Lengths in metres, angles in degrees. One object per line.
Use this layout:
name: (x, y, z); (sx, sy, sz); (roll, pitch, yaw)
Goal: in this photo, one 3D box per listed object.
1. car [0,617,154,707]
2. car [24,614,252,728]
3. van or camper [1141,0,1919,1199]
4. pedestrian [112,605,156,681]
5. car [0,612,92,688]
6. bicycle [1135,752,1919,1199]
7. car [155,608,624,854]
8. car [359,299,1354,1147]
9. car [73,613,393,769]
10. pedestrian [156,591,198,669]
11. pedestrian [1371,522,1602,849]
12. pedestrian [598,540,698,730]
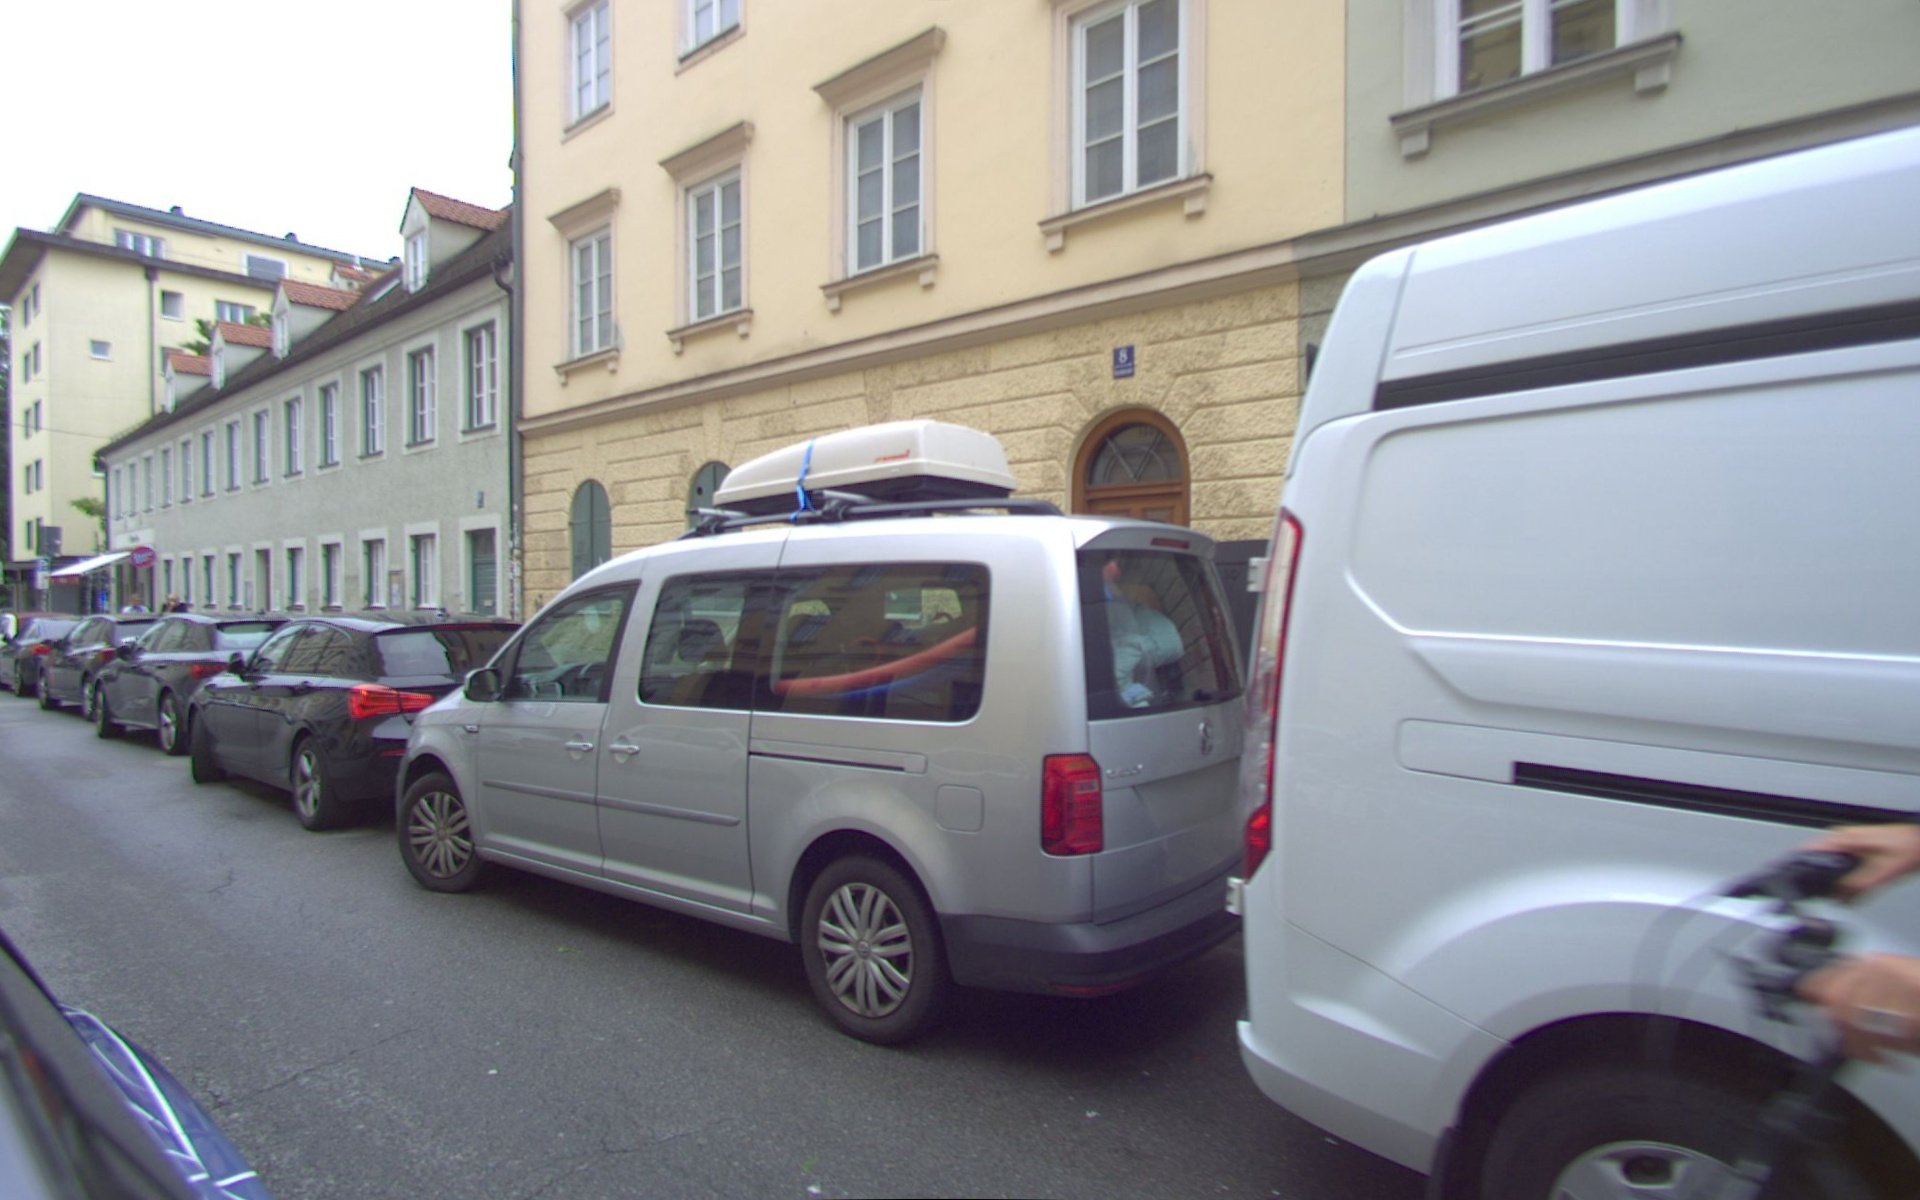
car: (-16.554, 1.052, 18.690); (4.267, 1.412, 1.838); (-1, 0, 41)
car: (-12.274, 0.942, 15.012); (4.265, 1.412, 1.839); (-1, 0, 40)
van or camper: (3.113, 0.243, 1.226); (5.475, 2.329, 1.973); (-1, -3, 41)
pedestrian: (-17.983, 0.919, 22.038); (0.662, 1.610, 0.607); (-1, -1, 38)
car: (-20.660, 1.057, 22.398); (3.419, 1.526, 1.554); (-1, 0, 38)
bicycle: (1.184, 0.815, 0.702); (1.998, 1.159, 0.725); (-1, 0, 40)
car: (-4.682, 0.803, 8.041); (4.265, 1.412, 1.839); (-1, 0, 39)
car: (-0.772, 0.339, 4.738); (4.552, 2.218, 1.841); (-1, 0, 36)
car: (-8.358, 0.881, 11.500); (4.263, 1.412, 1.840); (-1, 0, 38)
pedestrian: (-17.613, 0.671, 22.764); (0.805, 1.711, 0.575); (-1, -1, 38)
pedestrian: (3.107, 0.458, 5.985); (1.021, 1.725, 0.797); (-1, -1, 42)
pedestrian: (-3.500, 0.375, 11.347); (0.750, 2.029, 0.797); (-1, -1, 42)
